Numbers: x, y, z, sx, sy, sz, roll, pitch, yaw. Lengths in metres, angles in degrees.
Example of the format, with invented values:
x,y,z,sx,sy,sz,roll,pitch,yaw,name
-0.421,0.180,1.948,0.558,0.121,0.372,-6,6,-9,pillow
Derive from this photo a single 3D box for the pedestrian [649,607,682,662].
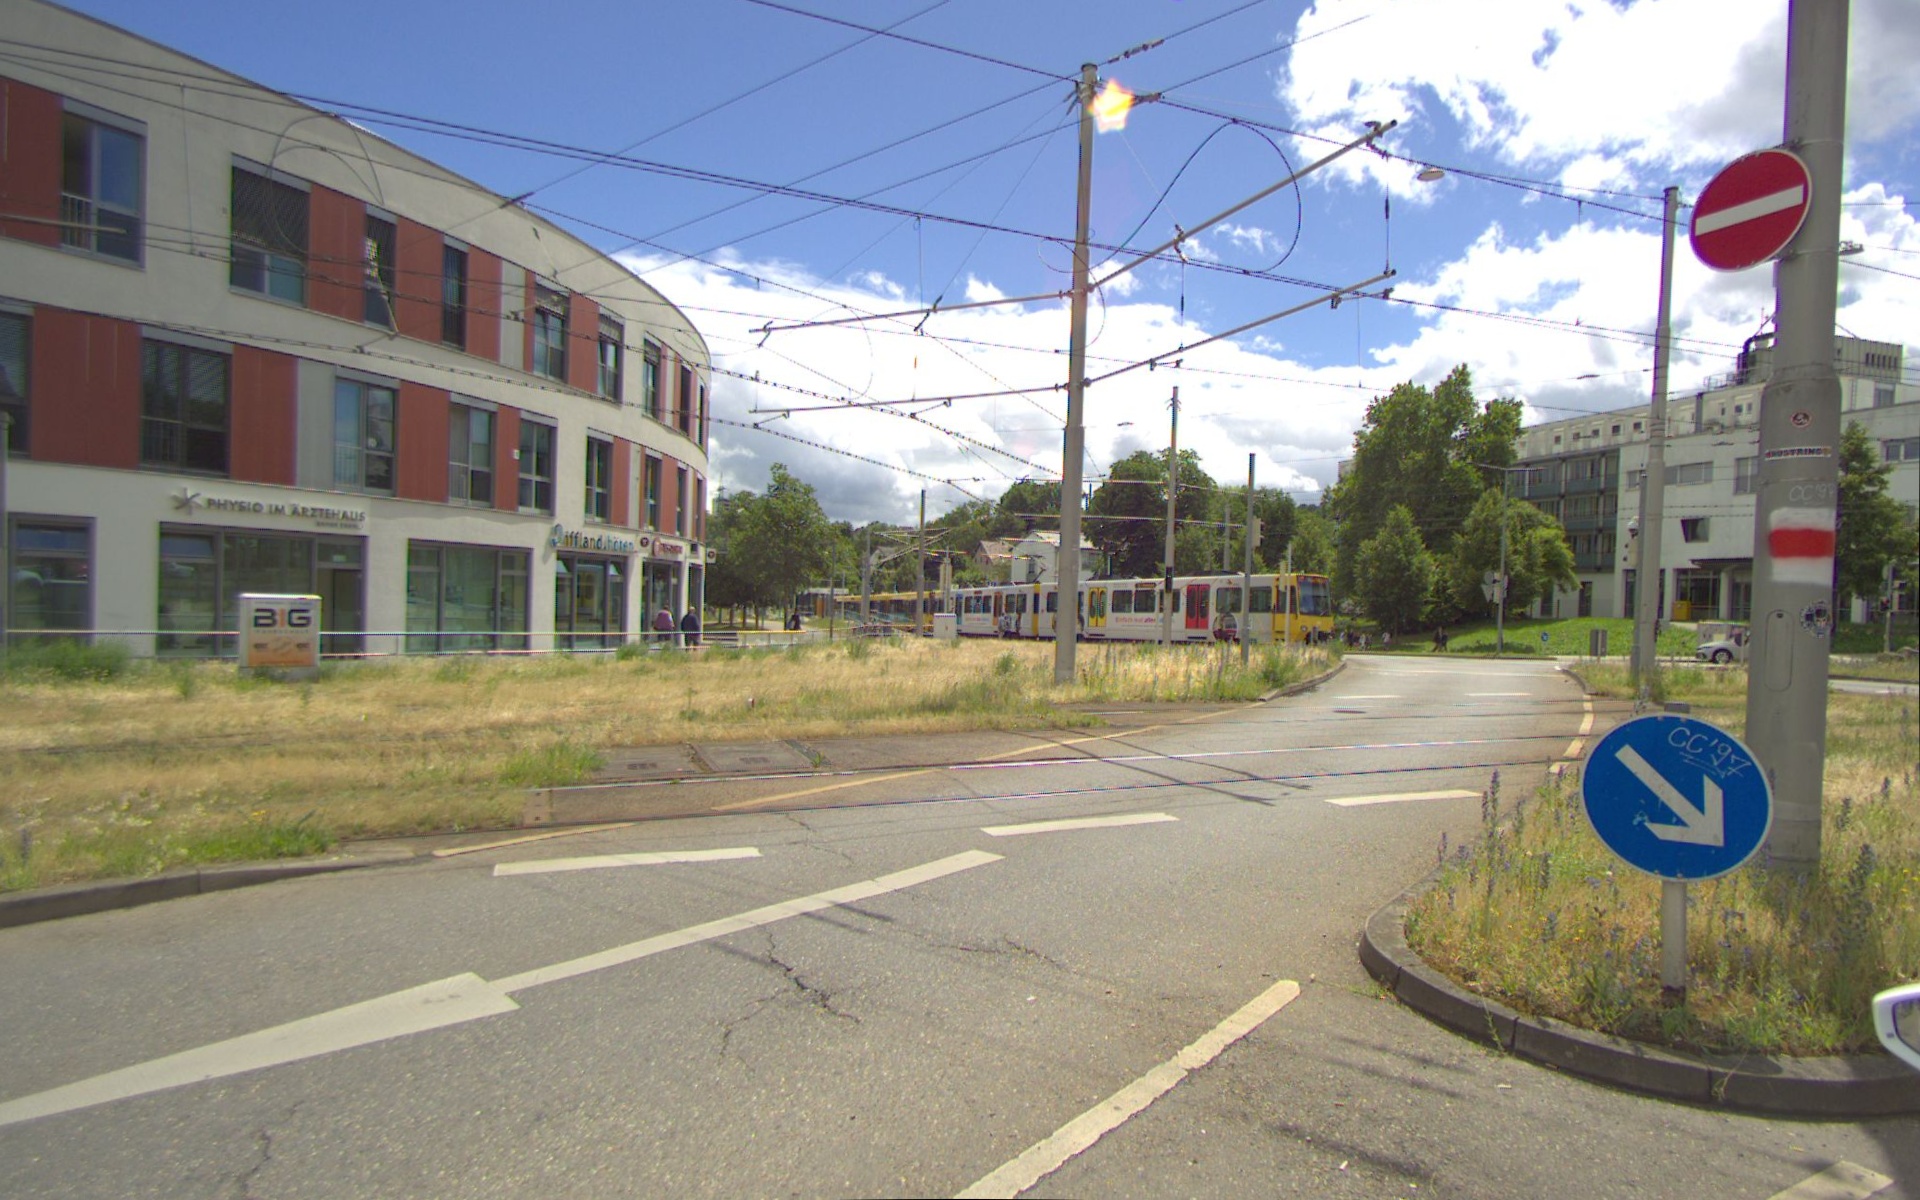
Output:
x,y,z,sx,sy,sz,roll,pitch,yaw,name
-10.861,1.274,37.113,0.848,1.994,1.106,1,-1,-1,pedestrian

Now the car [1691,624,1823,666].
x,y,z,sx,sy,sz,roll,pitch,yaw,name
33.552,1.874,42.430,4.094,1.606,1.856,1,-2,29,car

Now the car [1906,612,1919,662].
x,y,z,sx,sy,sz,roll,pitch,yaw,name
40.687,1.515,39.517,4.701,2.035,1.860,1,-1,15,car

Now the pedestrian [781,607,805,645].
x,y,z,sx,sy,sz,roll,pitch,yaw,name
-7.468,1.162,44.963,0.847,1.646,0.733,1,-1,7,pedestrian

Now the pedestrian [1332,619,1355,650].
x,y,z,sx,sy,sz,roll,pitch,yaw,name
25.200,2.288,65.985,0.854,1.994,1.098,2,-1,-27,pedestrian

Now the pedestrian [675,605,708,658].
x,y,z,sx,sy,sz,roll,pitch,yaw,name
-8.248,0.969,30.832,0.720,1.601,0.692,1,0,11,pedestrian

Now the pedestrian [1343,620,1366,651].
x,y,z,sx,sy,sz,roll,pitch,yaw,name
26.105,2.324,66.406,0.854,1.994,1.098,2,-1,-27,pedestrian

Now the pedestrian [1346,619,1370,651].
x,y,z,sx,sy,sz,roll,pitch,yaw,name
25.403,2.253,64.065,0.854,1.994,1.098,2,-1,-27,pedestrian

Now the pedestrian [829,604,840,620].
x,y,z,sx,sy,sz,roll,pitch,yaw,name
-16.670,1.587,133.176,1.241,2.040,1.121,2,-1,-19,pedestrian

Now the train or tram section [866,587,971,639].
x,y,z,sx,sy,sz,roll,pitch,yaw,name
-4.093,1.194,87.299,3.703,3.880,20.068,2,-2,-18,train or tram section

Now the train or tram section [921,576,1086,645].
x,y,z,sx,sy,sz,roll,pitch,yaw,name
2.213,0.821,68.708,3.705,3.930,20.543,2,-2,-20,train or tram section

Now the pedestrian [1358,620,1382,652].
x,y,z,sx,sy,sz,roll,pitch,yaw,name
26.351,2.292,64.534,0.854,1.994,1.098,2,-1,-27,pedestrian

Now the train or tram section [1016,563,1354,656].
x,y,z,sx,sy,sz,roll,pitch,yaw,name
10.349,0.548,51.628,3.723,3.864,19.863,2,-2,-34,train or tram section

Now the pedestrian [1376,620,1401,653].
x,y,z,sx,sy,sz,roll,pitch,yaw,name
26.714,2.259,62.632,0.854,1.994,1.098,2,-1,-27,pedestrian

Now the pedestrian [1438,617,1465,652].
x,y,z,sx,sy,sz,roll,pitch,yaw,name
28.613,2.021,58.497,0.854,1.994,1.098,2,-1,-27,pedestrian

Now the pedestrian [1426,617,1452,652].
x,y,z,sx,sy,sz,roll,pitch,yaw,name
27.704,1.985,58.105,0.854,1.994,1.098,2,-1,-27,pedestrian
